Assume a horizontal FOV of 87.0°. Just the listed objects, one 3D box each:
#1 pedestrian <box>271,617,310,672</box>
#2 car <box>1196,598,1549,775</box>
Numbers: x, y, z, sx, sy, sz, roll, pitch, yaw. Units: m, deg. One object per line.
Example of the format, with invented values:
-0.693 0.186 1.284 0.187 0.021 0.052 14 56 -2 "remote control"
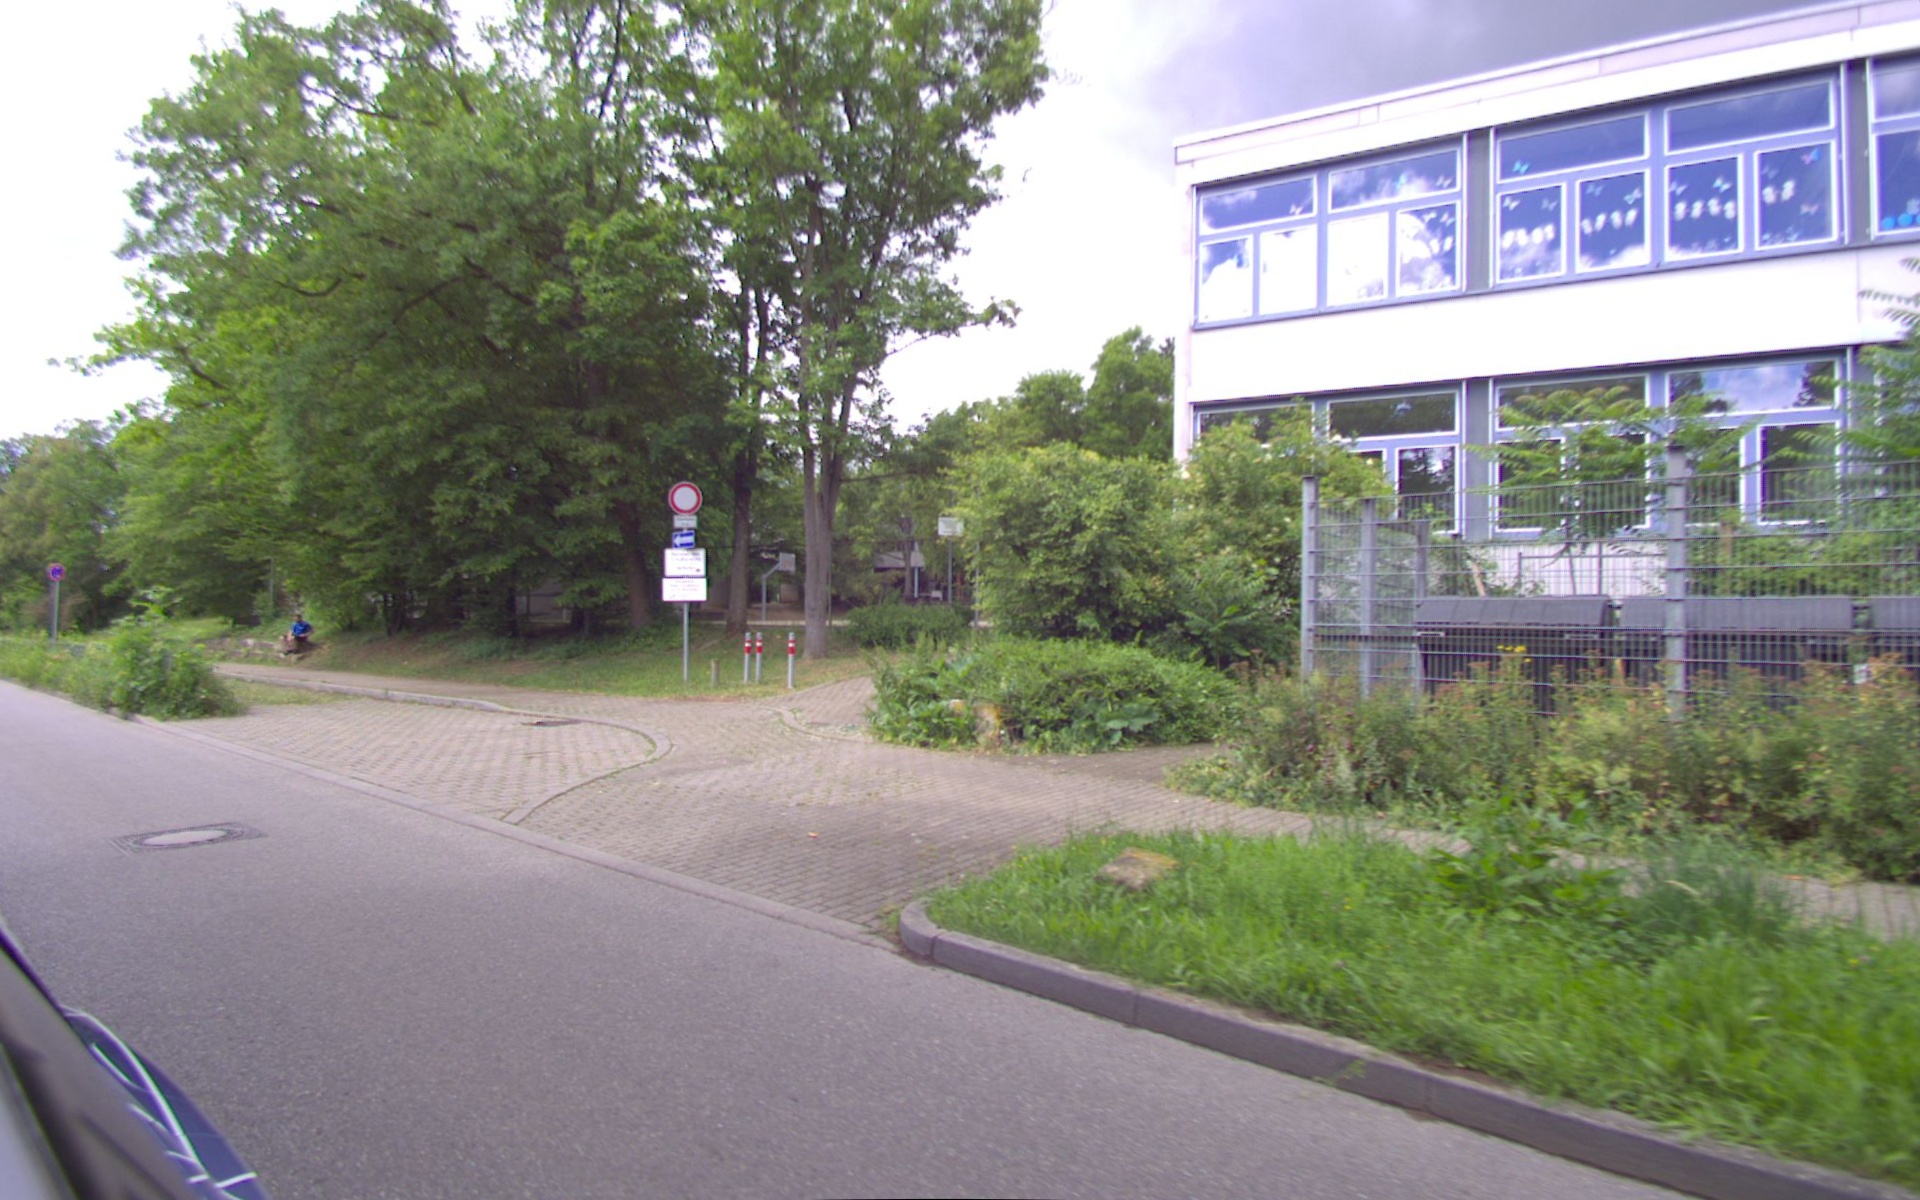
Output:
-20.511 1.366 31.025 0.808 1.675 0.752 -2 -3 39 "pedestrian"
5.453 1.080 13.827 1.967 2.029 4.009 2 -3 -37 "car"
